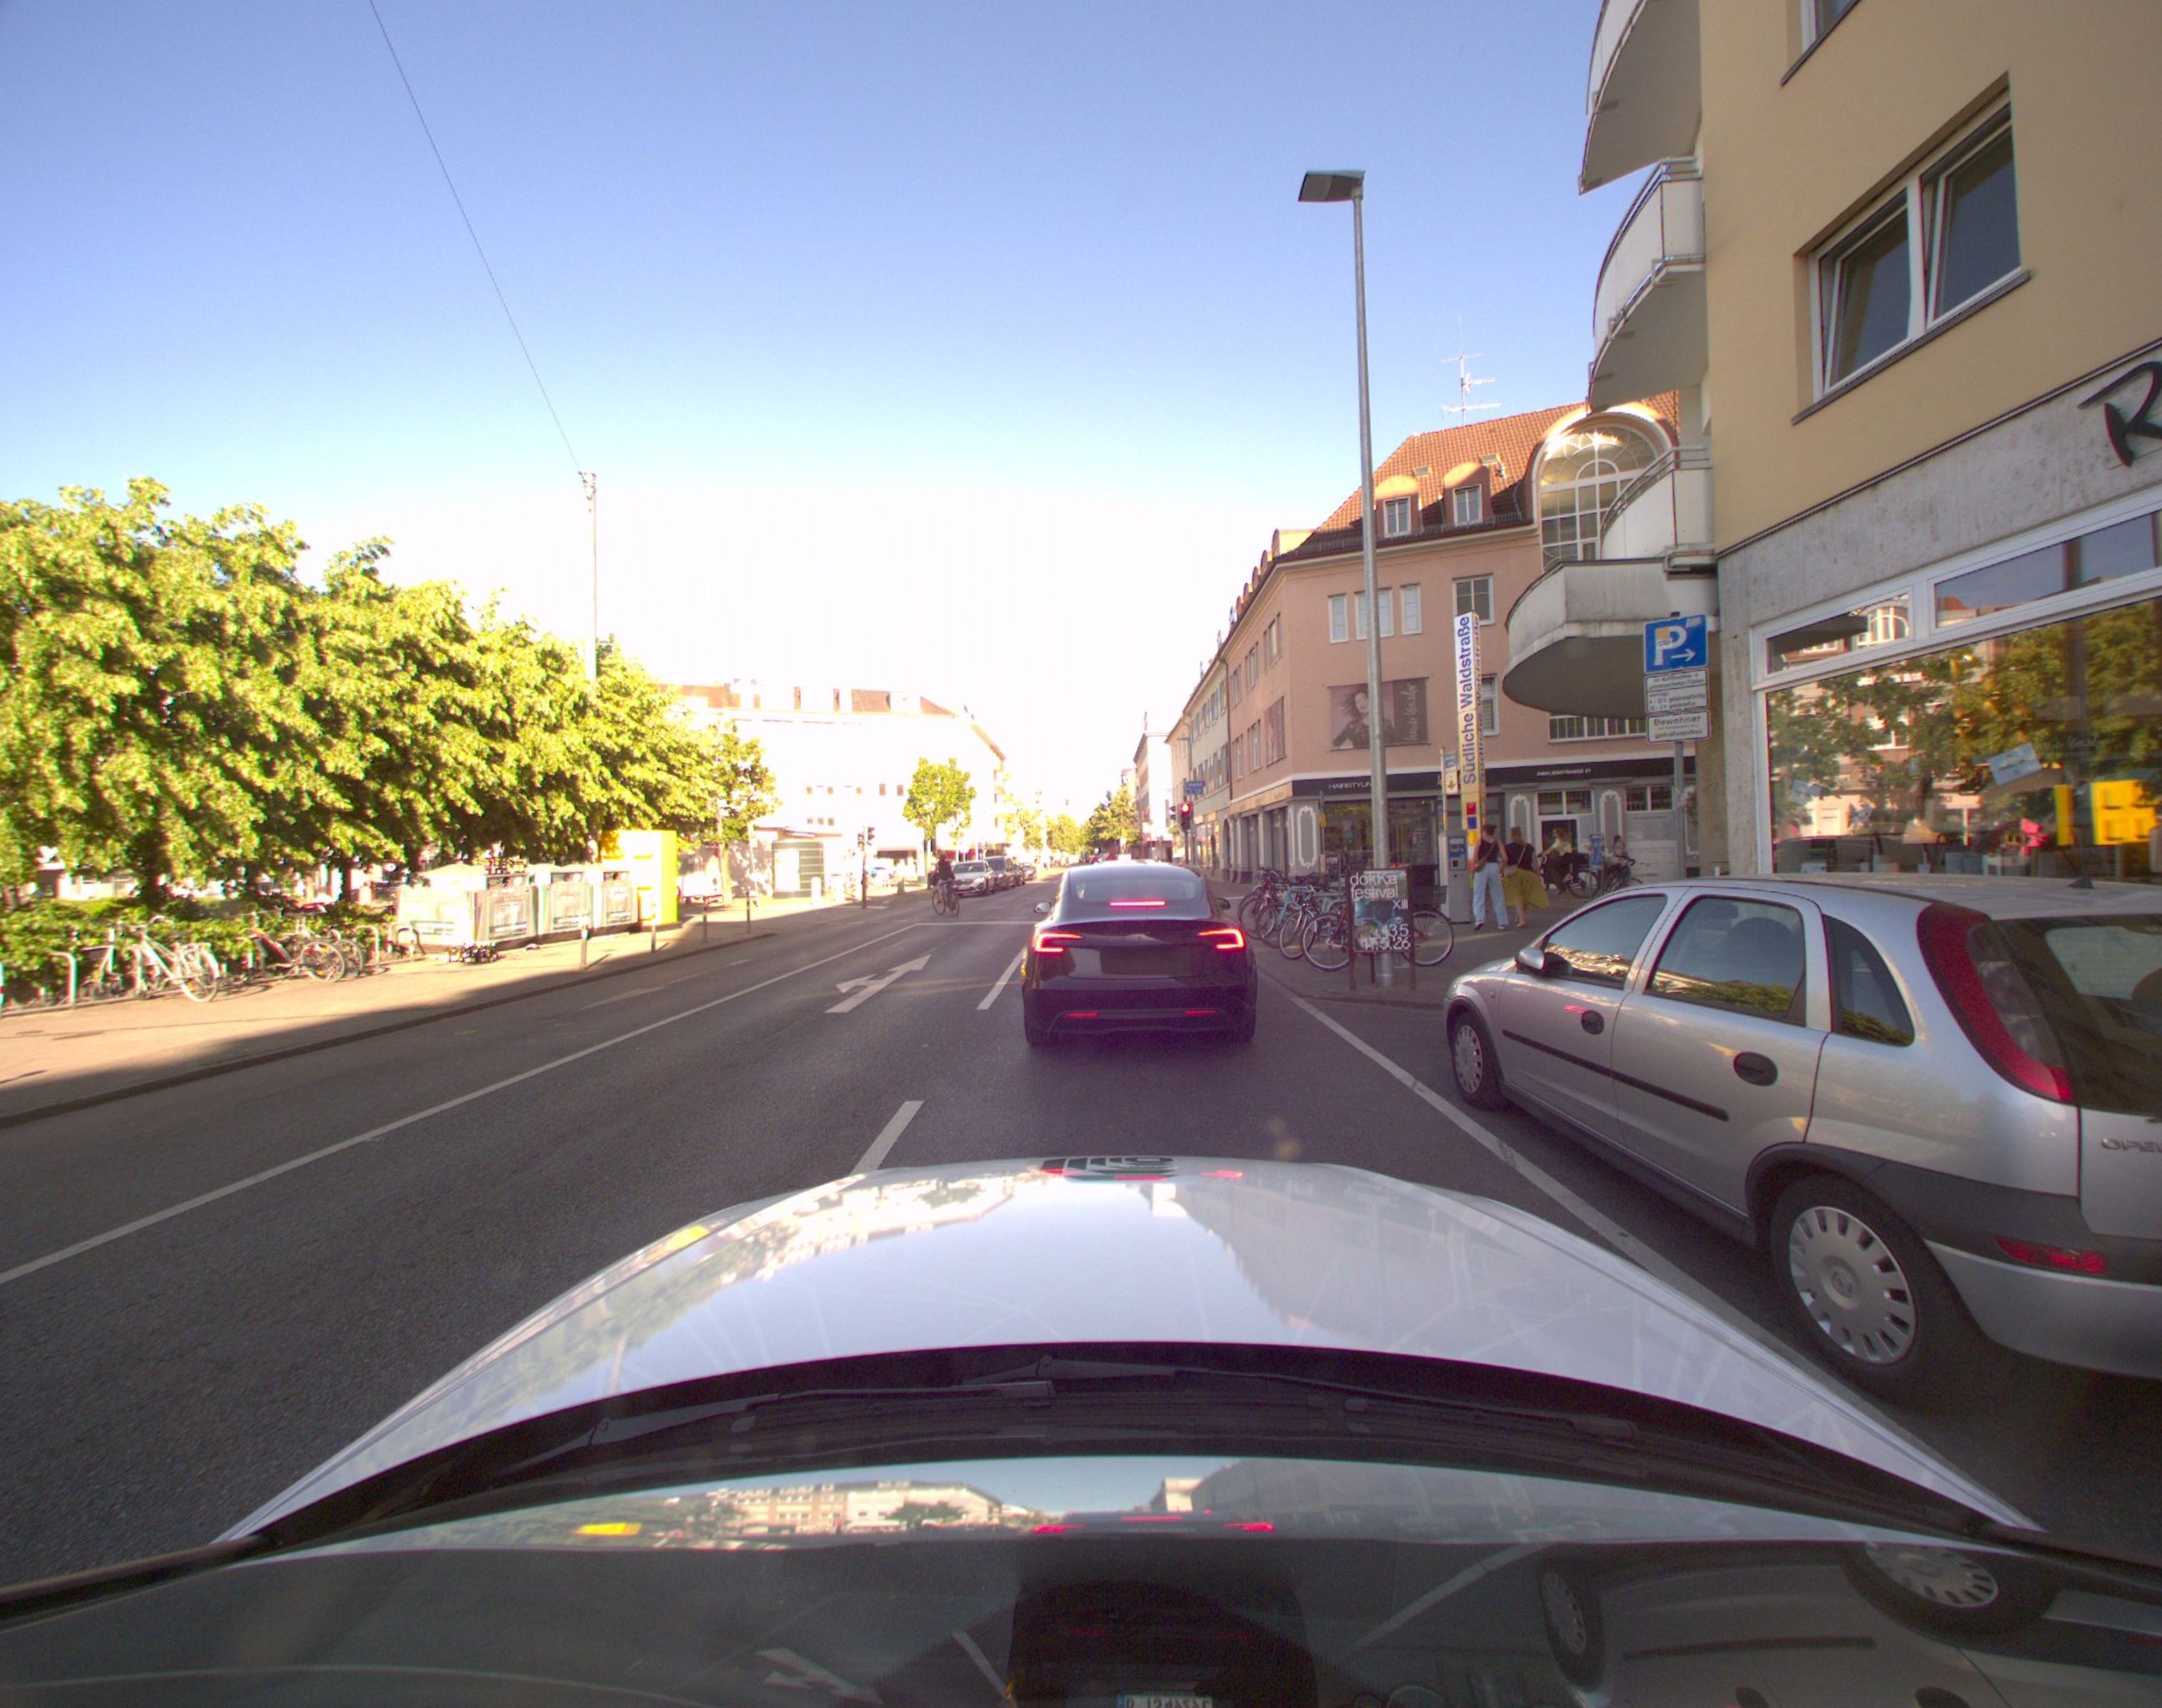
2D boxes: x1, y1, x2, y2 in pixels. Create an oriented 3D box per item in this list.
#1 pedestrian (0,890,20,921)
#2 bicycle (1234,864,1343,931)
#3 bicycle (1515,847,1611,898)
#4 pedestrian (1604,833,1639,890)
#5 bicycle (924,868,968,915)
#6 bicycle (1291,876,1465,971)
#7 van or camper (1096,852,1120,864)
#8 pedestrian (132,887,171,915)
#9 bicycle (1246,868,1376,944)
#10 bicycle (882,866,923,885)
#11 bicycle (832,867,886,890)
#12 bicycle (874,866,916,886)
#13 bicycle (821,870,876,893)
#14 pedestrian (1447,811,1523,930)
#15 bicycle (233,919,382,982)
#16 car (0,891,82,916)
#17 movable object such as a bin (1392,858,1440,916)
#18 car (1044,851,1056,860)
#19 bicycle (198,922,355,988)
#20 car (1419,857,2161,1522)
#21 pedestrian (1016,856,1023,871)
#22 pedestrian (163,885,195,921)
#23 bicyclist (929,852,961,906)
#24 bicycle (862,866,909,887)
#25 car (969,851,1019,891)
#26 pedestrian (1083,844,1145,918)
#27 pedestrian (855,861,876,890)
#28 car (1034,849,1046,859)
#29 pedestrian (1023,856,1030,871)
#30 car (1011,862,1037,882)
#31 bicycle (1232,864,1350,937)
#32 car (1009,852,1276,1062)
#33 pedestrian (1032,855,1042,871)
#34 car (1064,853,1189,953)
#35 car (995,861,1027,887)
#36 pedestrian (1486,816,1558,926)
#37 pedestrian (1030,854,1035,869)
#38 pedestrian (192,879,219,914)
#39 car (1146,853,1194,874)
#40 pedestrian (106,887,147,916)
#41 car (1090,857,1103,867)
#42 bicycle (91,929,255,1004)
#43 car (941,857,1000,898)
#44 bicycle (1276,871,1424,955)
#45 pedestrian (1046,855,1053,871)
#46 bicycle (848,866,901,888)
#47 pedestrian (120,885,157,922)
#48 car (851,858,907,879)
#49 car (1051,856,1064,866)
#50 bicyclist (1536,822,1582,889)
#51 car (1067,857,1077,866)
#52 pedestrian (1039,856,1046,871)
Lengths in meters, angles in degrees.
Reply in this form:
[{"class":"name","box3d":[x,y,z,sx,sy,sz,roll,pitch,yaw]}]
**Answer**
[{"class":"pedestrian","box3d":[-66.244,3.177,49.806,1.305,1.842,1.091,0,-1,-31]},{"class":"bicycle","box3d":[3.736,0.780,14.768,1.806,1.152,0.653,-1,0,3]},{"class":"bicycle","box3d":[12.041,0.465,20.409,1.938,1.158,0.578,-4,-1,18]},{"class":"pedestrian","box3d":[15.119,0.217,22.798,0.714,1.549,0.797,-1,-1,28]},{"class":"bicycle","box3d":[-3.750,1.040,22.554,0.631,1.223,1.983,-2,-2,-26]},{"class":"bicycle","box3d":[3.634,0.842,10.079,1.875,1.044,0.653,-2,0,3]},{"class":"van or camper","box3d":[5.637,0.851,167.657,4.832,2.438,1.851,-1,0,1]},{"class":"pedestrian","box3d":[-42.375,2.118,37.134,0.857,1.214,0.904,-1,-1,17]},{"class":"bicycle","box3d":[3.517,0.788,12.563,1.806,1.102,0.653,-1,0,3]},{"class":"bicycle","box3d":[-12.053,1.419,55.001,2.535,1.251,0.942,0,-1,-1]},{"class":"bicycle","box3d":[-12.394,1.369,45.585,2.772,1.274,0.933,0,-1,-2]},{"class":"bicycle","box3d":[-12.000,1.399,52.574,2.535,1.251,0.942,0,-1,-1]},{"class":"bicycle","box3d":[-12.326,1.436,43.241,2.652,1.195,0.942,0,-1,-1]},{"class":"pedestrian","box3d":[6.619,0.271,13.385,0.678,1.849,0.894,-5,-1,3]},{"class":"bicycle","box3d":[-11.463,1.422,12.099,1.663,0.859,0.469,0,-1,-5]},{"class":"car","box3d":[-71.107,3.355,55.291,4.118,1.530,1.547,-1,0,-9]},{"class":"movable object such as a bin","box3d":[6.743,0.656,16.419,0.633,1.103,0.728,-4,-1,5]},{"class":"car","box3d":[-7.160,0.289,188.730,2.266,2.014,4.720,0,-1,3]},{"class":"bicycle","box3d":[-11.428,1.421,11.600,1.667,0.859,0.469,0,-1,-5]},{"class":"car","box3d":[2.959,0.735,3.543,1.578,1.426,3.581,0,-1,2]},{"class":"pedestrian","box3d":[-7.377,1.134,97.288,0.734,1.868,0.787,0,-1,-15]},{"class":"pedestrian","box3d":[-38.867,2.091,35.103,0.827,1.520,0.782,-1,-1,32]},{"class":"bicyclist","box3d":[-3.790,0.682,22.669,0.609,1.484,0.950,0,-1,-26]},{"class":"bicycle","box3d":[-12.055,1.385,50.298,2.655,1.259,0.942,0,-1,-1]},{"class":"car","box3d":[-4.497,0.833,42.917,1.938,1.947,4.822,-1,0,2]},{"class":"pedestrian","box3d":[0.798,0.626,19.535,1.099,1.719,1.068,-1,-1,32]},{"class":"pedestrian","box3d":[-12.448,1.221,47.025,1.096,1.611,1.259,0,-1,-18]},{"class":"car","box3d":[-9.015,-0.013,180.135,2.266,2.014,4.720,0,-1,3]},{"class":"pedestrian","box3d":[-6.500,1.130,97.625,0.734,1.868,0.787,0,-1,-15]},{"class":"car","box3d":[-4.274,1.336,61.760,1.688,1.390,3.915,0,-1,0]},{"class":"bicycle","box3d":[3.495,0.772,13.639,1.806,1.152,0.653,-1,0,3]},{"class":"car","box3d":[0.494,0.735,7.879,1.843,1.447,4.453,0,0,2]},{"class":"pedestrian","box3d":[-5.124,1.099,94.913,0.726,1.868,0.796,-1,-1,30]},{"class":"car","box3d":[0.741,0.746,14.303,1.843,1.482,4.453,0,0,2]},{"class":"car","box3d":[-4.257,1.203,50.043,1.455,1.430,3.607,-5,-1,2]},{"class":"pedestrian","box3d":[7.441,0.283,13.775,0.717,1.754,0.789,-4,-1,7]},{"class":"pedestrian","box3d":[-6.214,0.976,104.222,0.693,1.868,0.658,0,-1,-3]},{"class":"pedestrian","box3d":[-38.476,1.862,35.776,0.553,1.508,0.611,-1,-1,17]},{"class":"car","box3d":[8.147,0.870,74.646,4.006,1.867,1.686,-1,0,-20]},{"class":"pedestrian","box3d":[-42.329,2.103,36.126,0.926,1.214,0.873,-1,-1,17]},{"class":"car","box3d":[2.978,1.522,151.692,2.025,1.788,4.013,-1,0,6]},{"class":"bicycle","box3d":[-11.463,1.415,10.303,1.560,0.886,0.470,0,-1,1]},{"class":"car","box3d":[-4.885,1.013,36.595,1.818,1.565,4.302,-5,-1,2]},{"class":"bicycle","box3d":[3.654,0.794,11.152,1.806,1.060,0.653,-1,0,3]},{"class":"pedestrian","box3d":[-3.838,1.119,98.647,0.773,1.868,1.007,0,-1,-4]},{"class":"bicycle","box3d":[-12.155,1.362,47.981,2.867,1.270,0.942,0,-1,-1]},{"class":"pedestrian","box3d":[-40.097,2.094,34.668,0.928,1.520,0.924,0,-1,-43]},{"class":"car","box3d":[-18.563,1.324,74.771,4.718,1.430,1.722,-5,-1,-22]},{"class":"car","box3d":[-4.855,1.321,166.805,2.405,1.970,4.679,-1,0,2]},{"class":"bicyclist","box3d":[11.979,0.049,20.425,0.819,1.614,0.582,-3,0,17]},{"class":"car","box3d":[-1.993,1.777,187.426,2.124,1.970,4.135,-1,0,2]},{"class":"pedestrian","box3d":[-4.826,1.153,101.952,0.695,1.868,0.906,0,-1,-10]}]
